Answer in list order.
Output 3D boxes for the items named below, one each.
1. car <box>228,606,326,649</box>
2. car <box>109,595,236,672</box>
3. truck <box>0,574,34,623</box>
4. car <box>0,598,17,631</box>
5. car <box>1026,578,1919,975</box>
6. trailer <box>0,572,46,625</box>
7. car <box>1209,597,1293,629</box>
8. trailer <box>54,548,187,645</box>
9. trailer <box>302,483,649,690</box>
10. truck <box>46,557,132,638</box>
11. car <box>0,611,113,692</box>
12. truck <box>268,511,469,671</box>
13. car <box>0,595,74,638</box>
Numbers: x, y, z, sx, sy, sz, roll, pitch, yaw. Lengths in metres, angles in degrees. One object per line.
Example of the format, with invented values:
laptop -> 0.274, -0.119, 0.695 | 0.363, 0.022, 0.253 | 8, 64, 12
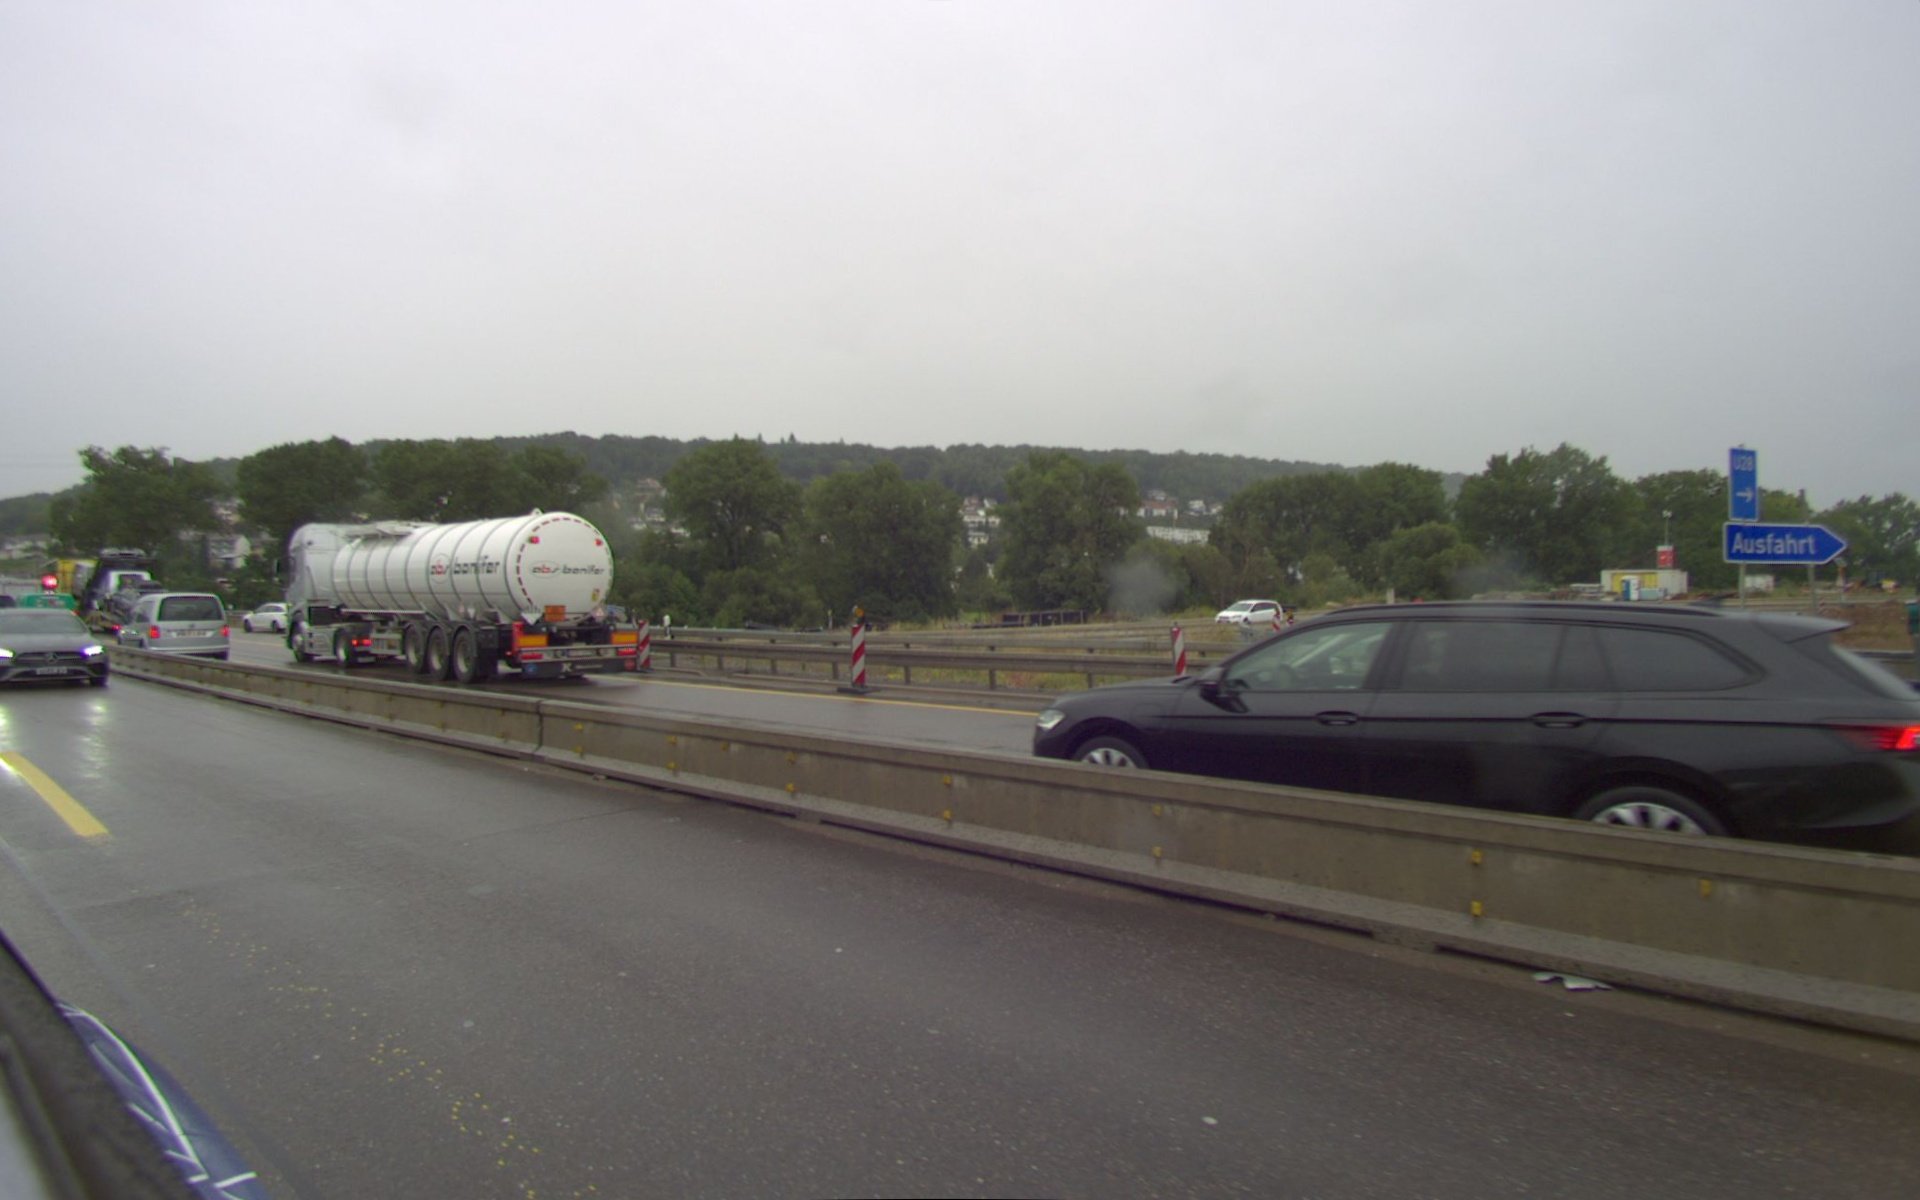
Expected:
car -> -34.503, 1.326, 51.130 | 4.819, 2.078, 2.052 | 0, 0, 27
car -> -20.420, 0.809, 26.197 | 4.161, 1.813, 1.846 | 0, 0, 41
truck -> -78.900, -0.105, 83.779 | 5.272, 3.957, 2.657 | 0, -2, 42
car -> -55.013, 0.771, 57.346 | 5.188, 1.819, 1.768 | 0, -1, 42
car -> 2.765, 0.706, 5.823 | 4.676, 1.516, 1.754 | -1, -1, 41
trailer -> -75.456, -0.107, 80.727 | 9.816, 3.993, 2.657 | 0, -2, 42
car -> 16.024, 0.696, 55.609 | 4.964, 1.713, 1.854 | 0, 0, -38
trailer -> -40.887, -0.126, 48.957 | 15.354, 4.073, 2.720 | 0, 0, 42
trailer -> -11.517, -0.209, 22.988 | 11.997, 3.705, 2.593 | 0, 0, 41
truck -> -46.612, -0.106, 54.113 | 6.146, 4.093, 2.720 | 0, 0, 42
car -> -18.398, 0.958, 20.030 | 4.483, 1.449, 1.926 | -1, -1, 42
truck -> -15.651, -0.198, 26.578 | 6.591, 3.705, 2.593 | 0, 0, 41
car -> -40.363, 0.699, 44.192 | 4.686, 1.772, 1.972 | -1, -1, 42
